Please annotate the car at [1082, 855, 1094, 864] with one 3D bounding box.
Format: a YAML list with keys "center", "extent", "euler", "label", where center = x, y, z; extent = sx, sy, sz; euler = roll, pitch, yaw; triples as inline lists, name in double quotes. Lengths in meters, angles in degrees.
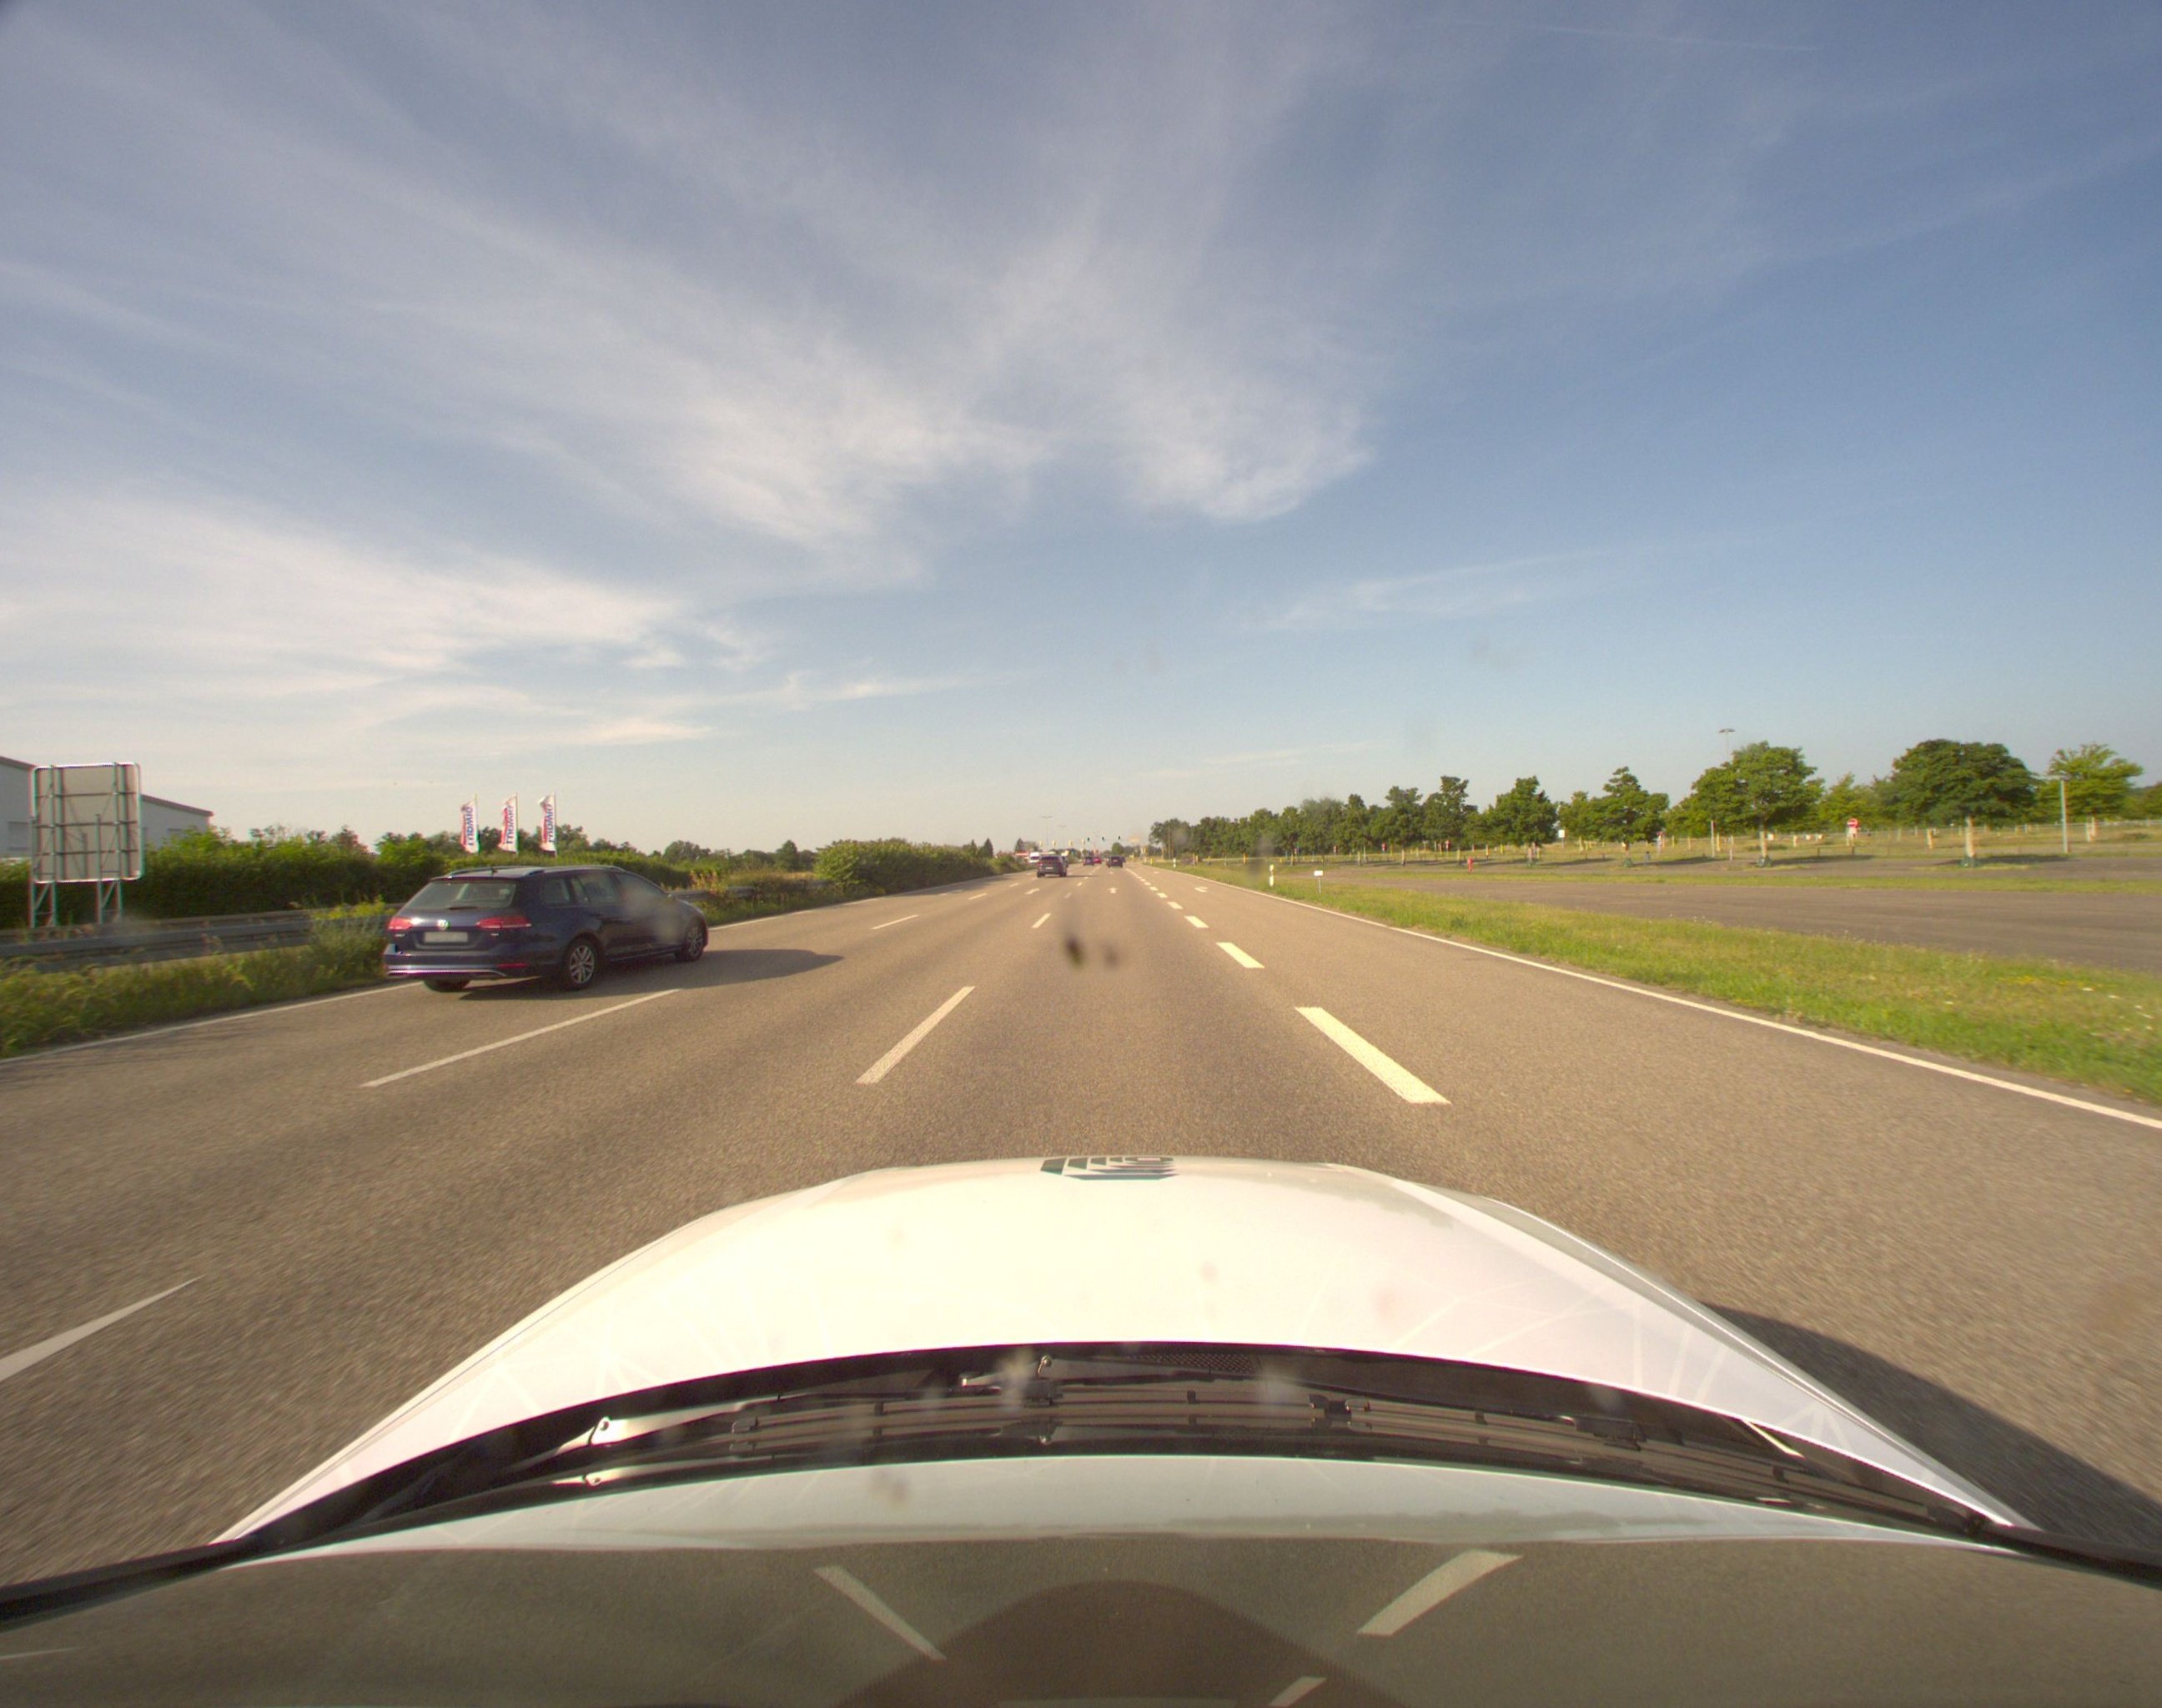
- center: [1.172, 0.977, 136.714]
  extent: [1.806, 1.463, 4.402]
  euler: [0, 0, 2]
  label: "car"

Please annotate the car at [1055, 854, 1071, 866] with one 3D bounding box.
- center: [-2.517, 0.796, 115.321]
  extent: [1.925, 1.680, 4.402]
  euler: [0, 0, 2]
  label: "car"

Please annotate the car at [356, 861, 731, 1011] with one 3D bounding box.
- center: [-6.584, 0.869, 10.801]
  extent: [1.640, 1.471, 4.778]
  euler: [-2, 0, 2]
  label: "car"

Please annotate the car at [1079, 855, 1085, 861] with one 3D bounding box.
- center: [0.265, 1.146, 224.990]
  extent: [1.594, 1.532, 4.002]
  euler: [0, 0, 2]
  label: "car"

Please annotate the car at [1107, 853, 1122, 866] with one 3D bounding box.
- center: [4.418, 0.755, 108.571]
  extent: [1.925, 1.680, 4.402]
  euler: [0, 0, 2]
  label: "car"

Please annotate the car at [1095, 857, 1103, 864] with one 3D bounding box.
- center: [3.680, 1.348, 165.258]
  extent: [1.641, 1.463, 3.982]
  euler: [0, 0, 2]
  label: "car"

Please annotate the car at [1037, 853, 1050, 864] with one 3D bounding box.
- center: [-7.305, 0.932, 158.981]
  extent: [2.153, 2.035, 6.325]
  euler: [-1, -1, 2]
  label: "car"

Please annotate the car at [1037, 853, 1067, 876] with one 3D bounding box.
- center: [-2.006, 0.716, 57.915]
  extent: [1.839, 1.612, 4.402]
  euler: [0, 0, 2]
  label: "car"
